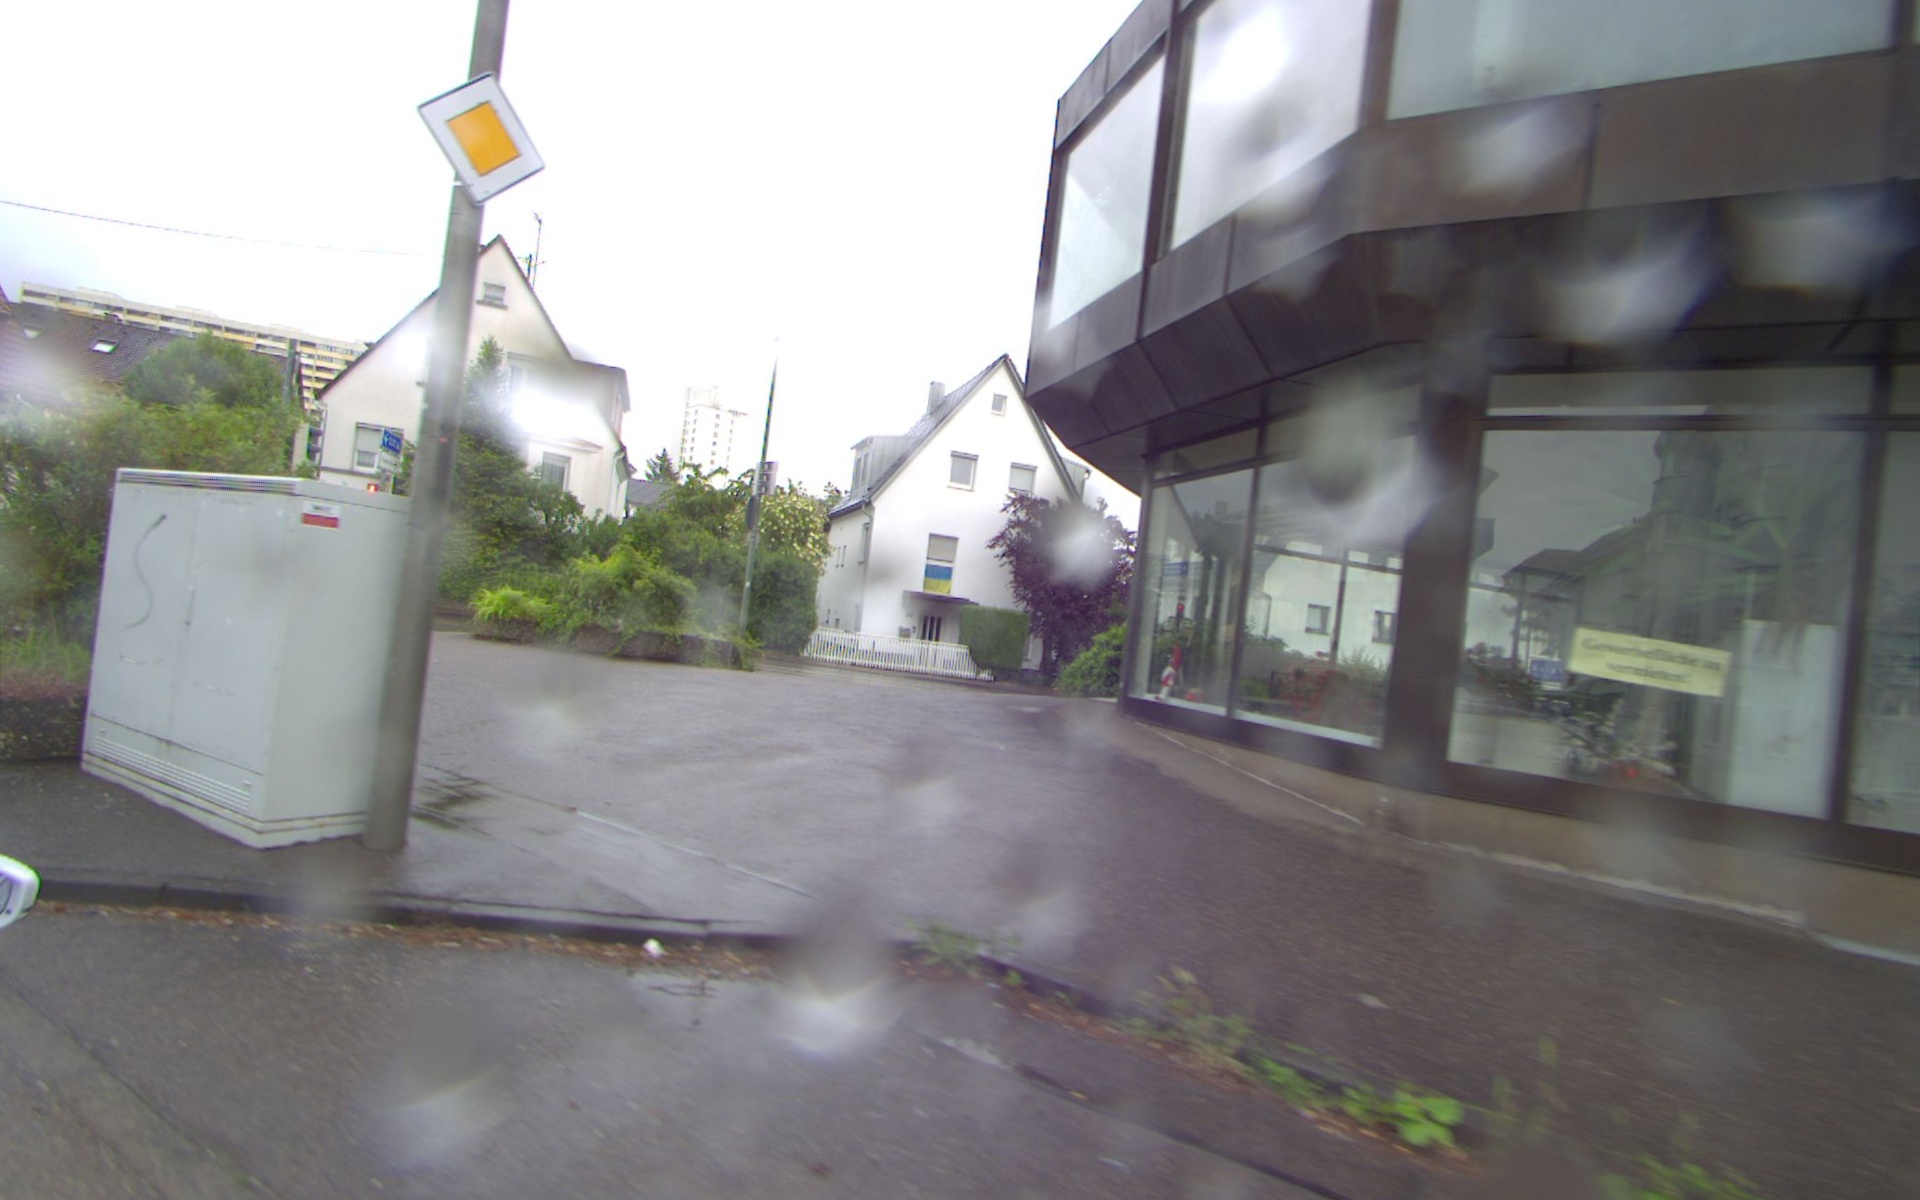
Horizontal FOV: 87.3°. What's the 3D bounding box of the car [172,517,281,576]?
[{"bbox_3d":[-23.722,-1.680,32.698,1.722,1.532,3.981,9,-1,-21],"label":"car"}]
